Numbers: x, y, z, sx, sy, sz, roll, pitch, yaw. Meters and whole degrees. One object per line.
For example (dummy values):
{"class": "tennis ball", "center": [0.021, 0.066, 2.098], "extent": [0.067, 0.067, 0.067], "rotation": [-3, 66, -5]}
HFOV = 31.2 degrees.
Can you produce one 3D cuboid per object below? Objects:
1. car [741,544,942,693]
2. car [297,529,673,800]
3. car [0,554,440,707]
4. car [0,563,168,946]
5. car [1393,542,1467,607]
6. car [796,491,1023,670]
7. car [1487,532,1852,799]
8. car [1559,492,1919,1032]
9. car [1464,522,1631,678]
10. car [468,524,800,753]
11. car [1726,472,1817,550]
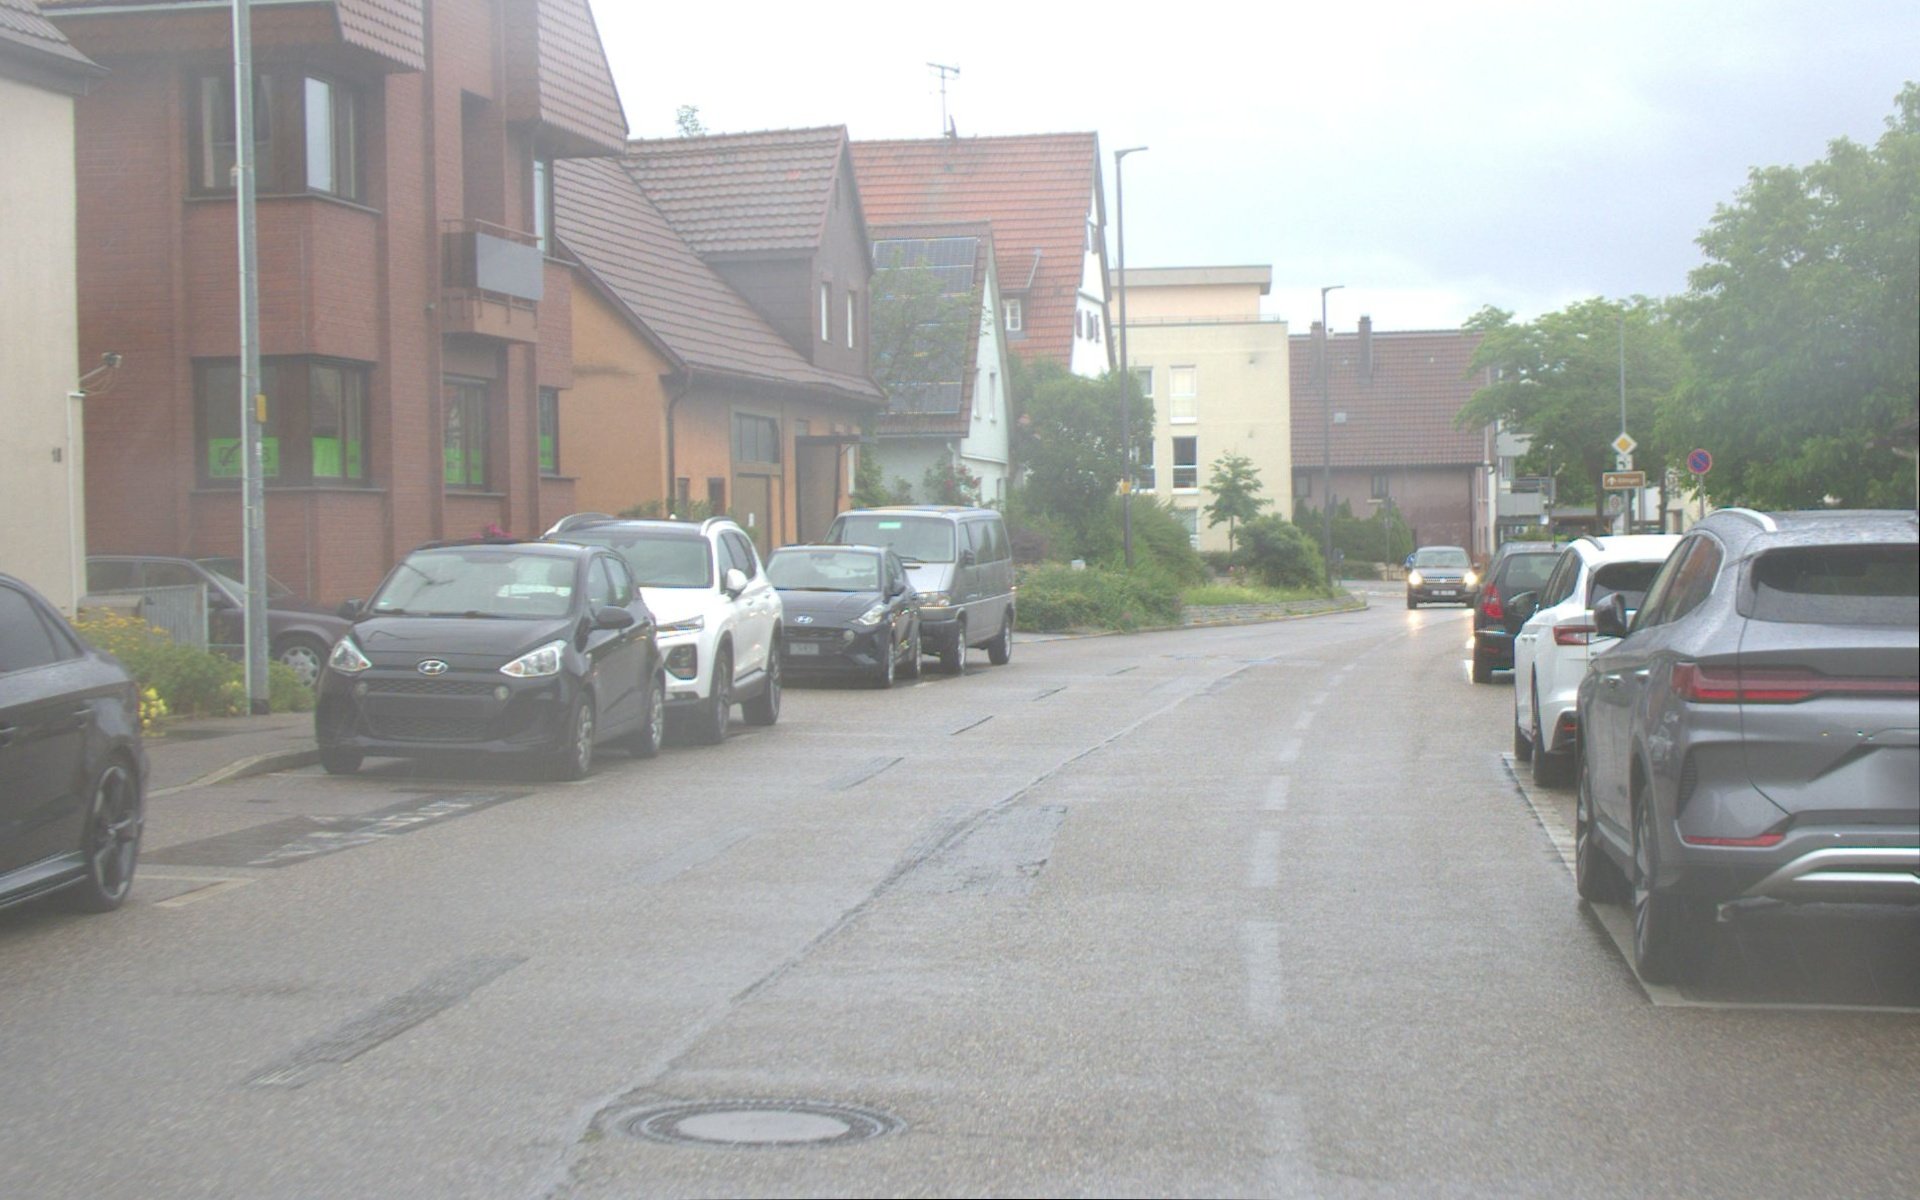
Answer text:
{"class": "car", "center": [-1.207, 0.166, 36.522], "extent": [1.579, 1.492, 3.566], "rotation": [-1, 1, 7]}
{"class": "car", "center": [-2.992, 0.370, 22.268], "extent": [1.605, 1.612, 3.275], "rotation": [-1, 1, 7]}
{"class": "car", "center": [-7.392, 0.289, 33.624], "extent": [4.174, 1.398, 1.788], "rotation": [-1, 0, 14]}
{"class": "car", "center": [-4.255, 0.546, 12.089], "extent": [1.627, 1.351, 4.110], "rotation": [1, 1, 5]}
{"class": "car", "center": [12.502, -0.684, 91.333], "extent": [1.798, 1.634, 3.998], "rotation": [1, 1, 10]}
{"class": "car", "center": [-0.524, -0.248, 41.362], "extent": [1.822, 2.007, 5.212], "rotation": [-1, 1, 9]}
{"class": "car", "center": [4.646, 0.376, 23.119], "extent": [1.803, 1.589, 4.611], "rotation": [1, 0, 4]}
{"class": "car", "center": [3.425, 0.506, 13.284], "extent": [1.909, 1.711, 4.554], "rotation": [2, 1, 7]}
{"class": "car", "center": [6.771, -0.019, 39.934], "extent": [1.750, 1.704, 3.999], "rotation": [-1, 1, 8]}
{"class": "car", "center": [-2.427, 0.250, 26.768], "extent": [1.764, 1.613, 4.655], "rotation": [-1, 1, 5]}
{"class": "car", "center": [15.645, -1.697, 66.362], "extent": [1.639, 1.425, 3.675], "rotation": [-1, 1, 12]}
